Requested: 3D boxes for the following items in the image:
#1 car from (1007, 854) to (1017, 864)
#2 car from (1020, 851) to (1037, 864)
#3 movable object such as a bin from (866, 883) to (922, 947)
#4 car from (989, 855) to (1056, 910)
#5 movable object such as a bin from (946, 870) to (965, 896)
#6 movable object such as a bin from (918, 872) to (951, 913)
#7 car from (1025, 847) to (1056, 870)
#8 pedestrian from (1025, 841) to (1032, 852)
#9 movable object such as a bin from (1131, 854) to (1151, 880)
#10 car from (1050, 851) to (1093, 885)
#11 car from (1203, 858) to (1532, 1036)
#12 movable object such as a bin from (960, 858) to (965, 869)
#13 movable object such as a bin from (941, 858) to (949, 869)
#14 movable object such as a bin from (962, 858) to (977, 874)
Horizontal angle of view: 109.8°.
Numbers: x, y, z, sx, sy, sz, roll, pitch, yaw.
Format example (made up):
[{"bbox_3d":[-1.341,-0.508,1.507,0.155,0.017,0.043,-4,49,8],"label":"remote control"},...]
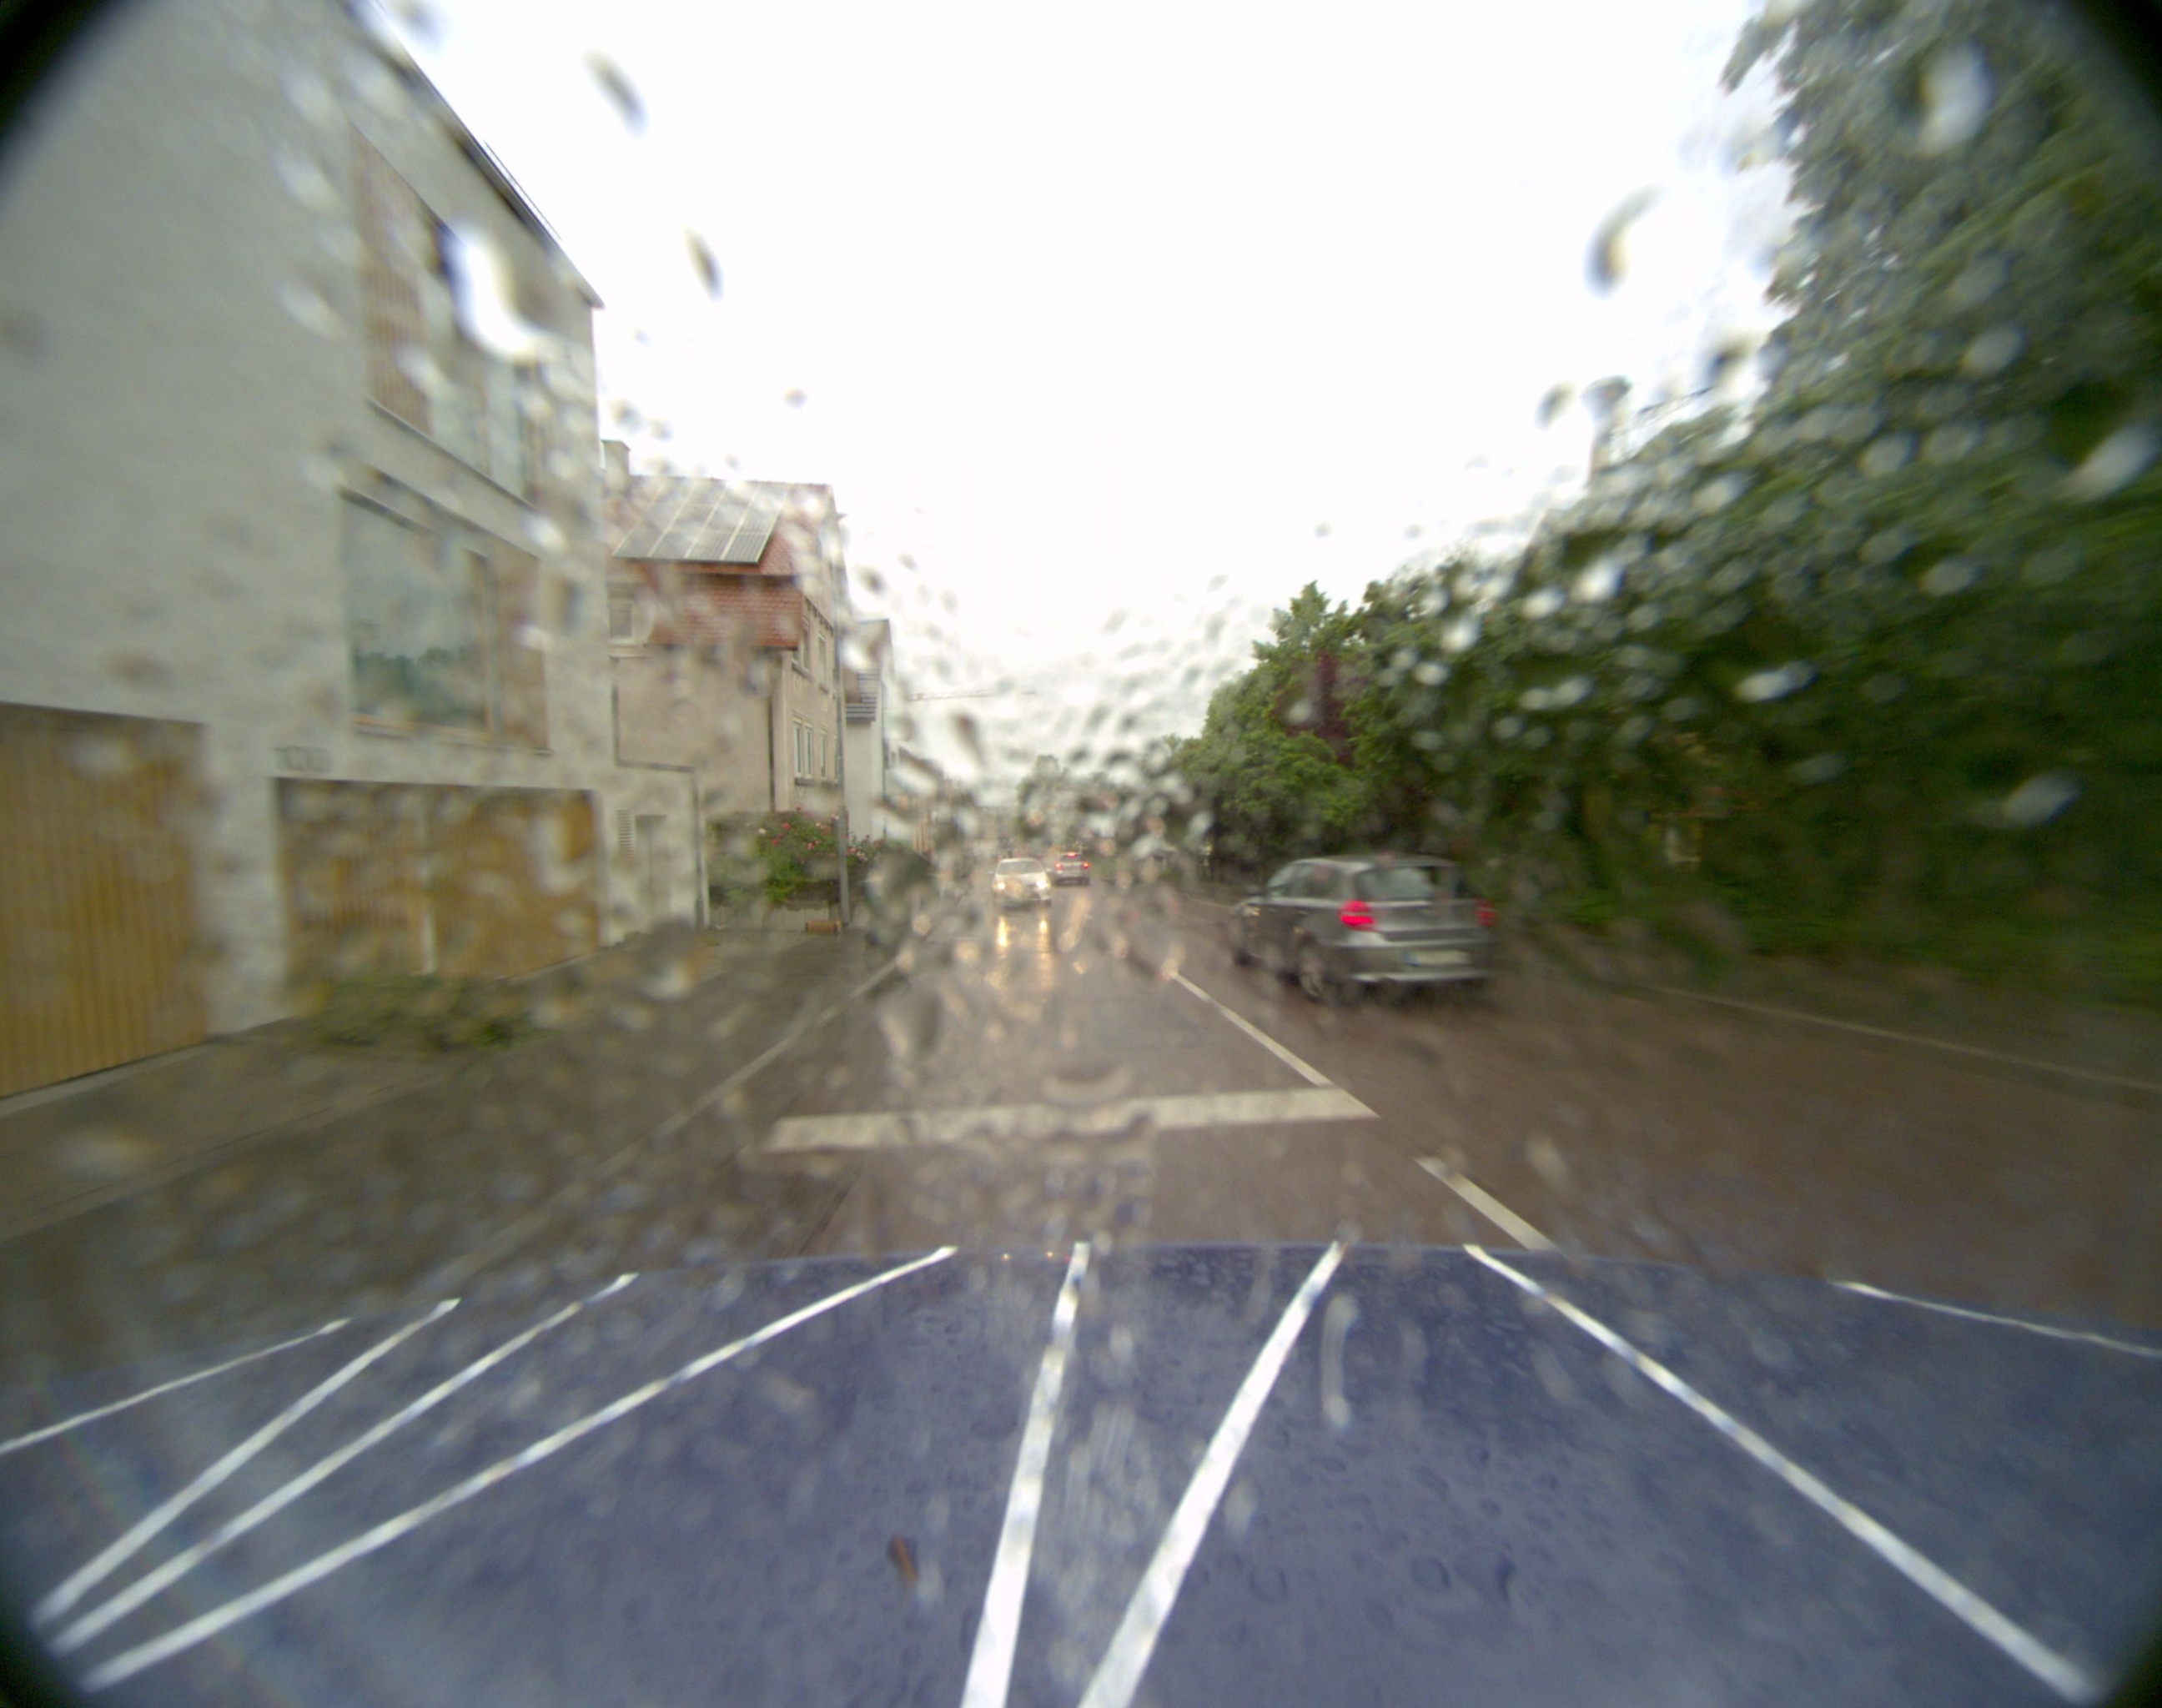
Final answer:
[{"bbox_3d":[-11.606,0.827,128.233,1.565,1.446,4.081,-2,1,-7],"label":"car"},{"bbox_3d":[-5.900,0.383,85.214,1.623,1.433,3.734,-2,1,-8],"label":"car"},{"bbox_3d":[-3.322,1.070,13.565,0.838,1.054,0.749,-2,1,-5],"label":"movable object such as a bin"},{"bbox_3d":[-1.892,0.825,23.846,1.860,1.427,4.014,-3,1,-6],"label":"car"},{"bbox_3d":[-4.702,1.073,28.391,0.632,0.892,0.711,-2,1,-6],"label":"movable object such as a bin"},{"bbox_3d":[-4.033,1.065,20.985,0.799,1.064,0.760,-2,1,-5],"label":"movable object such as a bin"},{"bbox_3d":[-3.112,0.332,57.629,1.924,1.614,4.360,-2,1,-8],"label":"car"},{"bbox_3d":[-9.081,-1.312,130.814,0.971,1.820,0.893,-2,1,-15],"label":"pedestrian"},{"bbox_3d":[2.635,0.571,33.503,0.722,1.093,0.757,-3,1,-6],"label":"movable object such as a bin"},{"bbox_3d":[-0.528,0.641,38.004,1.810,1.545,3.827,-2,1,-5],"label":"car"},{"bbox_3d":[2.802,0.795,8.467,1.825,1.414,3.897,-2,1,-7],"label":"car"},{"bbox_3d":[-10.871,0.877,69.666,0.381,1.012,0.487,-2,1,-6],"label":"movable object such as a bin"},{"bbox_3d":[-12.530,0.851,69.900,0.611,0.961,0.791,5,0,-9],"label":"movable object such as a bin"},{"bbox_3d":[-7.714,0.824,52.514,0.916,1.097,0.701,-2,1,-4],"label":"movable object such as a bin"}]
